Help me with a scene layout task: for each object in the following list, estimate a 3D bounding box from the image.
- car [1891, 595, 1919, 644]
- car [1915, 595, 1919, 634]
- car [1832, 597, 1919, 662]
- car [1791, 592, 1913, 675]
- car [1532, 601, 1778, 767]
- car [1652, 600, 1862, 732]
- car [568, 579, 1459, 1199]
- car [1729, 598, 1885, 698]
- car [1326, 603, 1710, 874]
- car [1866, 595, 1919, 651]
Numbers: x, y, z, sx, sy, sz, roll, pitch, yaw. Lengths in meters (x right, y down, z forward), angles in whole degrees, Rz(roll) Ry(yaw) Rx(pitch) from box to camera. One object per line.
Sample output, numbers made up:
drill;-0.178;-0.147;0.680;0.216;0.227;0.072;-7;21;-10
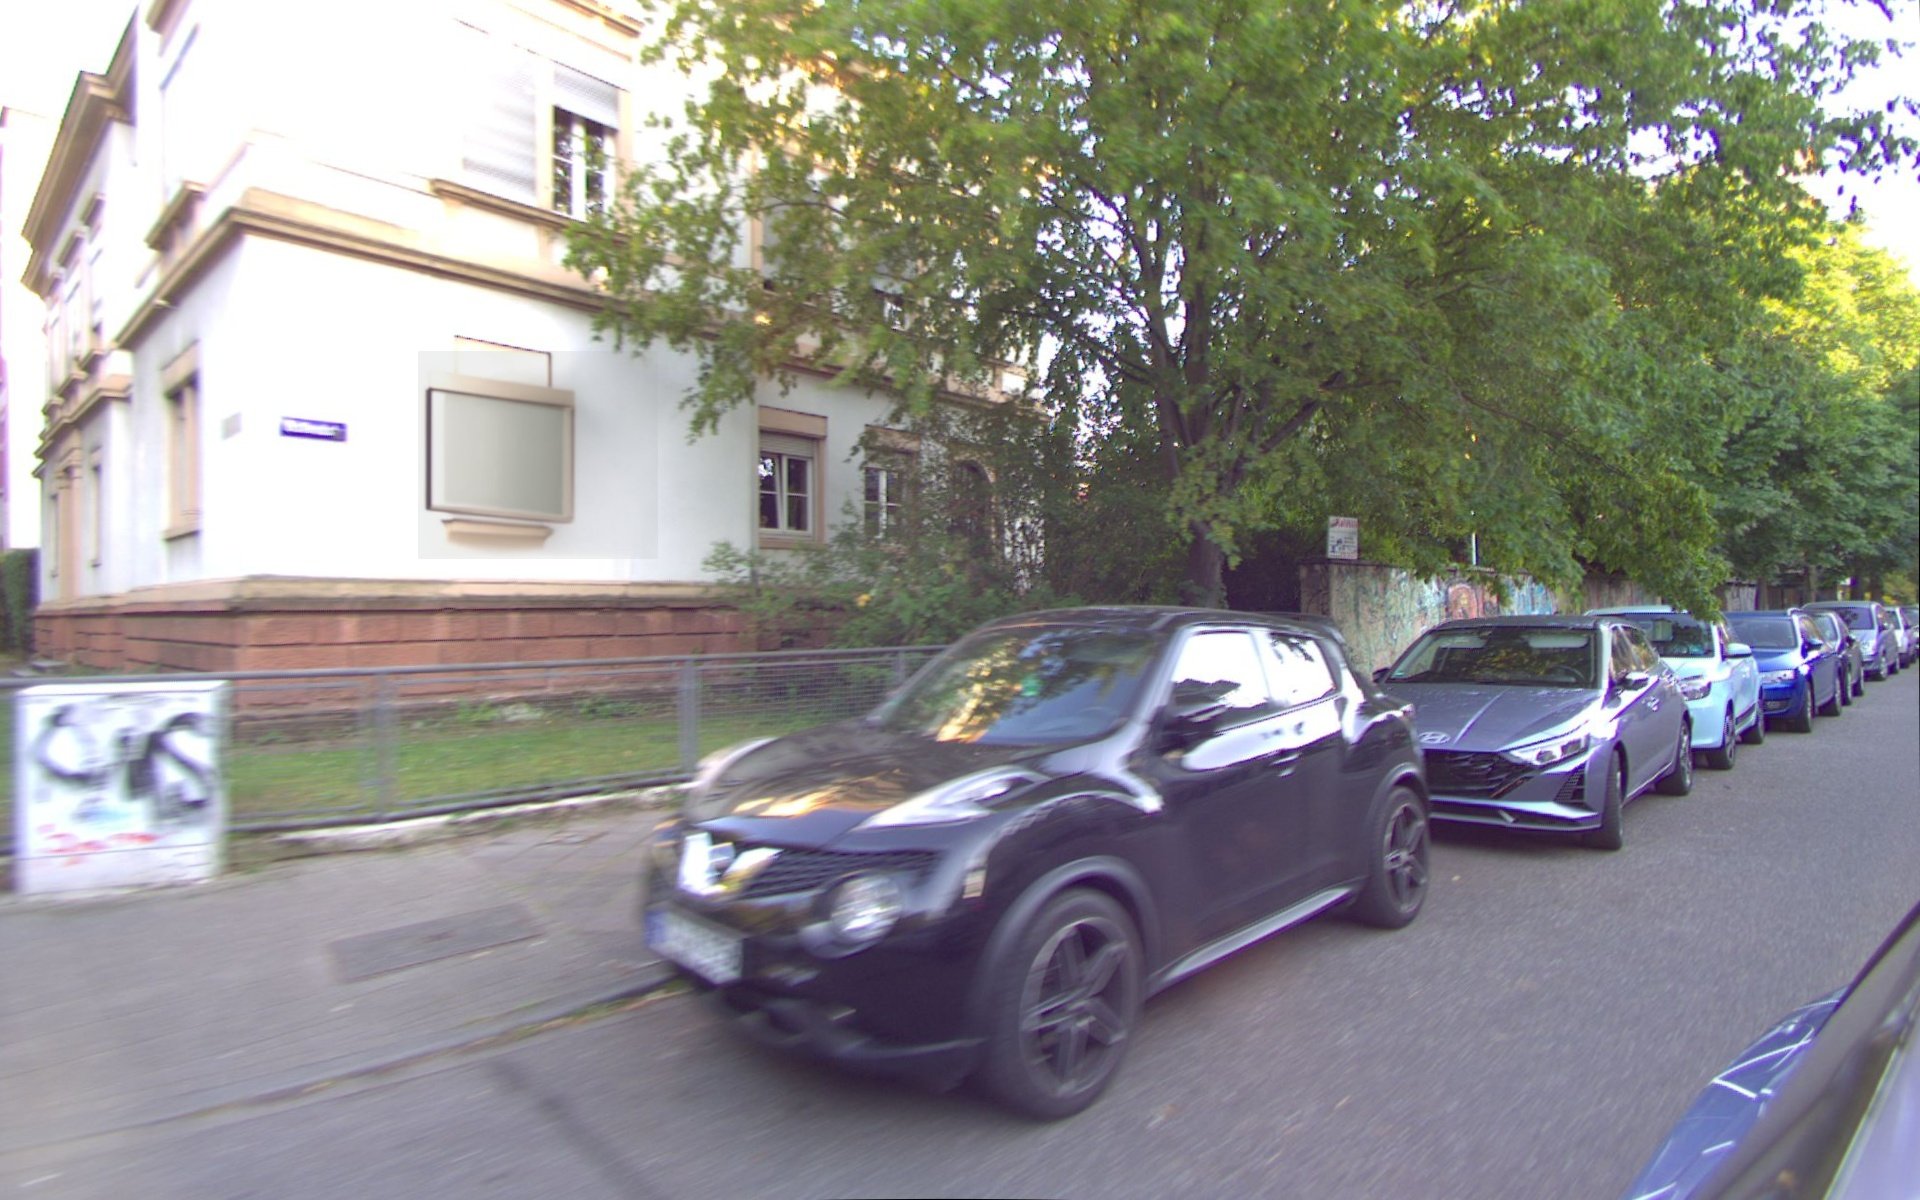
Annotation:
car;30.782;0.598;32.074;3.703;1.473;1.629;-1;0;-44
car;38.246;0.530;39.107;3.701;1.473;1.630;-1;0;-42
car;22.966;0.668;25.124;3.703;1.473;1.629;-1;0;-44
car;19.257;0.643;21.795;4.061;1.587;1.629;-1;0;-44
car;7.548;0.747;10.859;1.628;1.453;3.628;0;0;44
car;10.757;0.756;13.549;4.060;1.453;1.629;-1;0;-43
car;0.564;0.734;4.361;3.879;1.565;1.628;-1;-1;-45
car;14.373;0.703;17.095;4.062;1.453;1.629;-1;1;-44
car;4.317;0.777;7.566;1.628;1.453;3.725;0;0;44
car;27.072;0.611;28.778;3.703;1.473;1.629;-1;0;-43
